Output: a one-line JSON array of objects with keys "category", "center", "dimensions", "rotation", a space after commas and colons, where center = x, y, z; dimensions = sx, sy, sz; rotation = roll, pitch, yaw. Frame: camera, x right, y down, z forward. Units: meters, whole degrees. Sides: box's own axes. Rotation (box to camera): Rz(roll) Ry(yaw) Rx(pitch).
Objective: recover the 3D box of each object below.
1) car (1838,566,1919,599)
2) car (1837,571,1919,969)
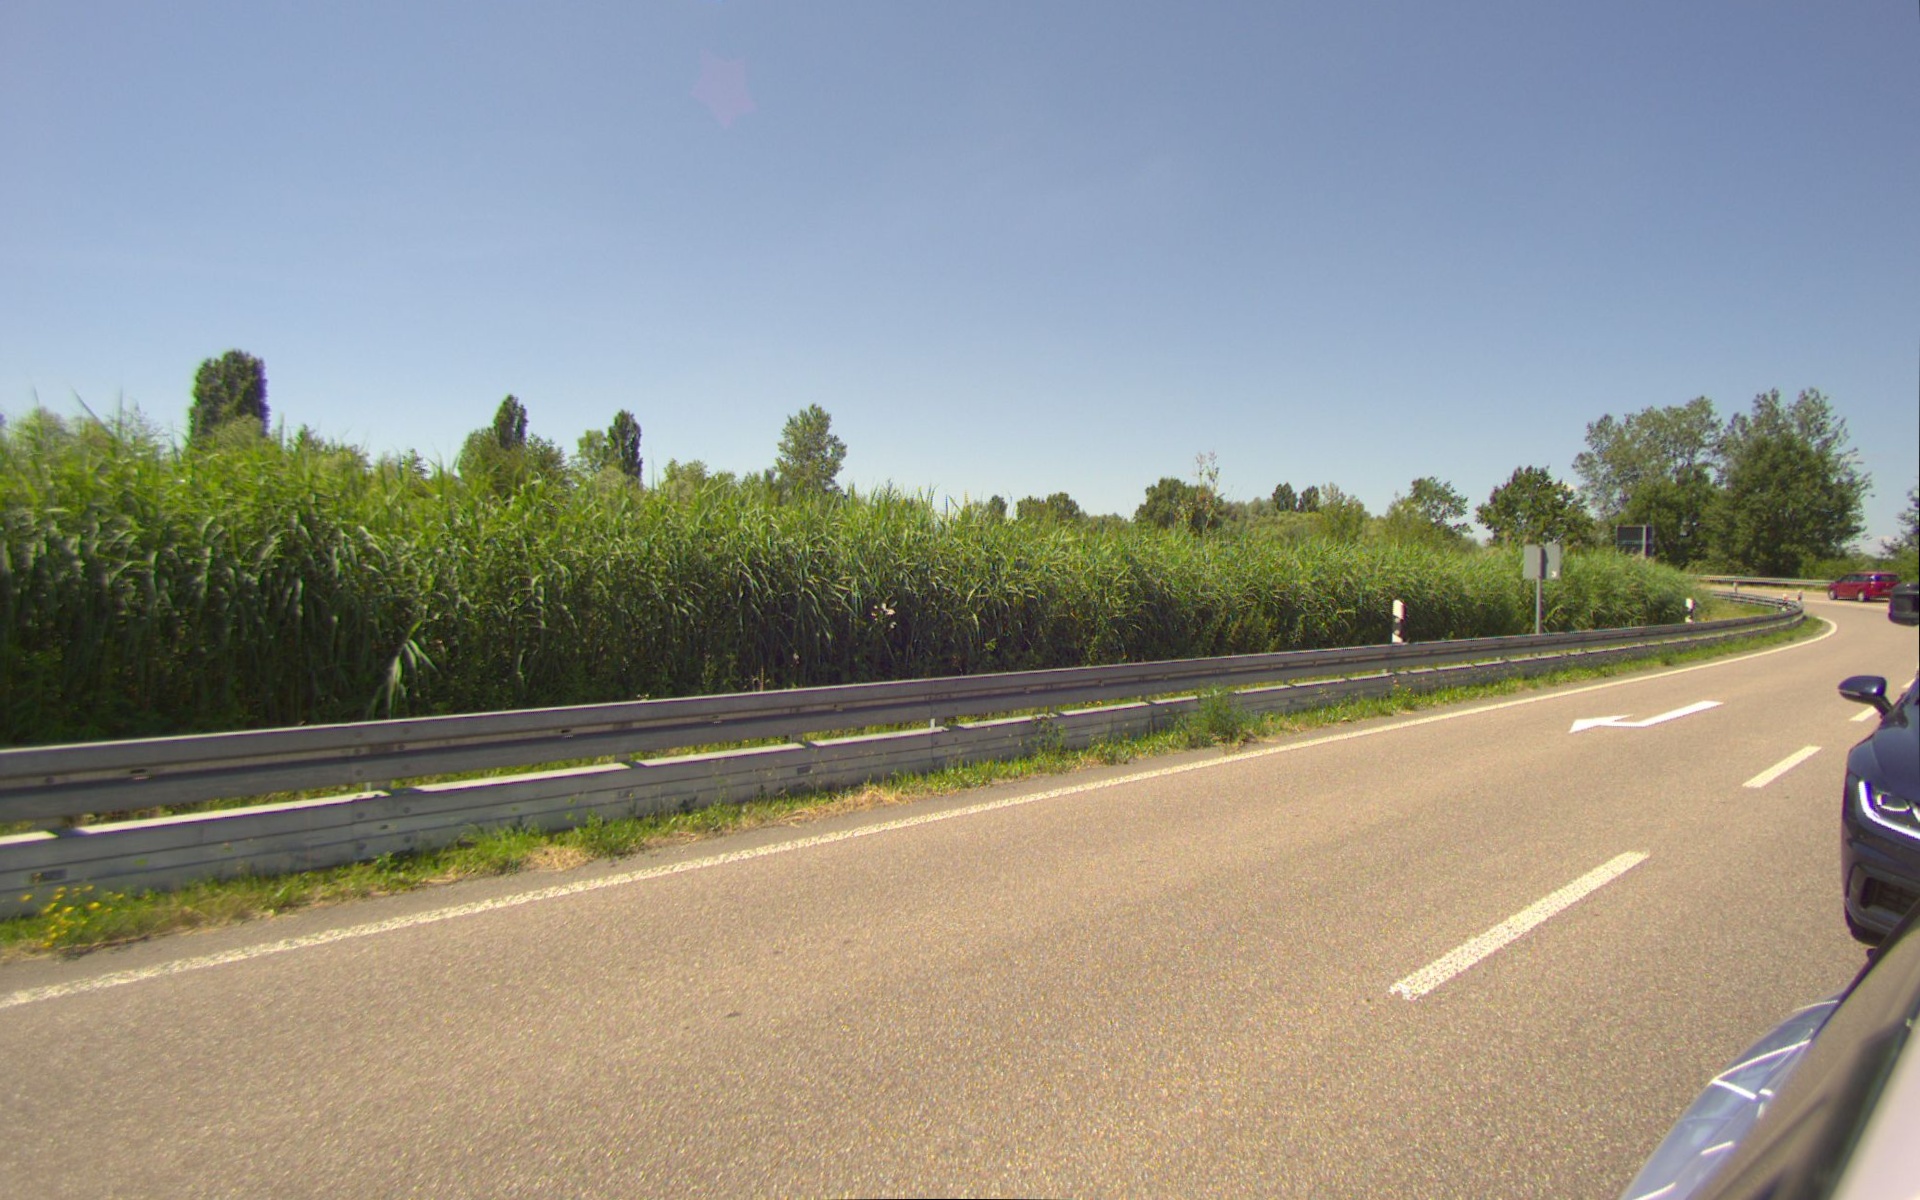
[{"category": "car", "center": [51.343, -1.000, 56.578], "dimensions": [1.718, 1.706, 4.188], "rotation": [2, 2, 16]}, {"category": "car", "center": [5.642, 0.620, 4.674], "dimensions": [4.338, 1.481, 1.818], "rotation": [-1, 1, -41]}]
